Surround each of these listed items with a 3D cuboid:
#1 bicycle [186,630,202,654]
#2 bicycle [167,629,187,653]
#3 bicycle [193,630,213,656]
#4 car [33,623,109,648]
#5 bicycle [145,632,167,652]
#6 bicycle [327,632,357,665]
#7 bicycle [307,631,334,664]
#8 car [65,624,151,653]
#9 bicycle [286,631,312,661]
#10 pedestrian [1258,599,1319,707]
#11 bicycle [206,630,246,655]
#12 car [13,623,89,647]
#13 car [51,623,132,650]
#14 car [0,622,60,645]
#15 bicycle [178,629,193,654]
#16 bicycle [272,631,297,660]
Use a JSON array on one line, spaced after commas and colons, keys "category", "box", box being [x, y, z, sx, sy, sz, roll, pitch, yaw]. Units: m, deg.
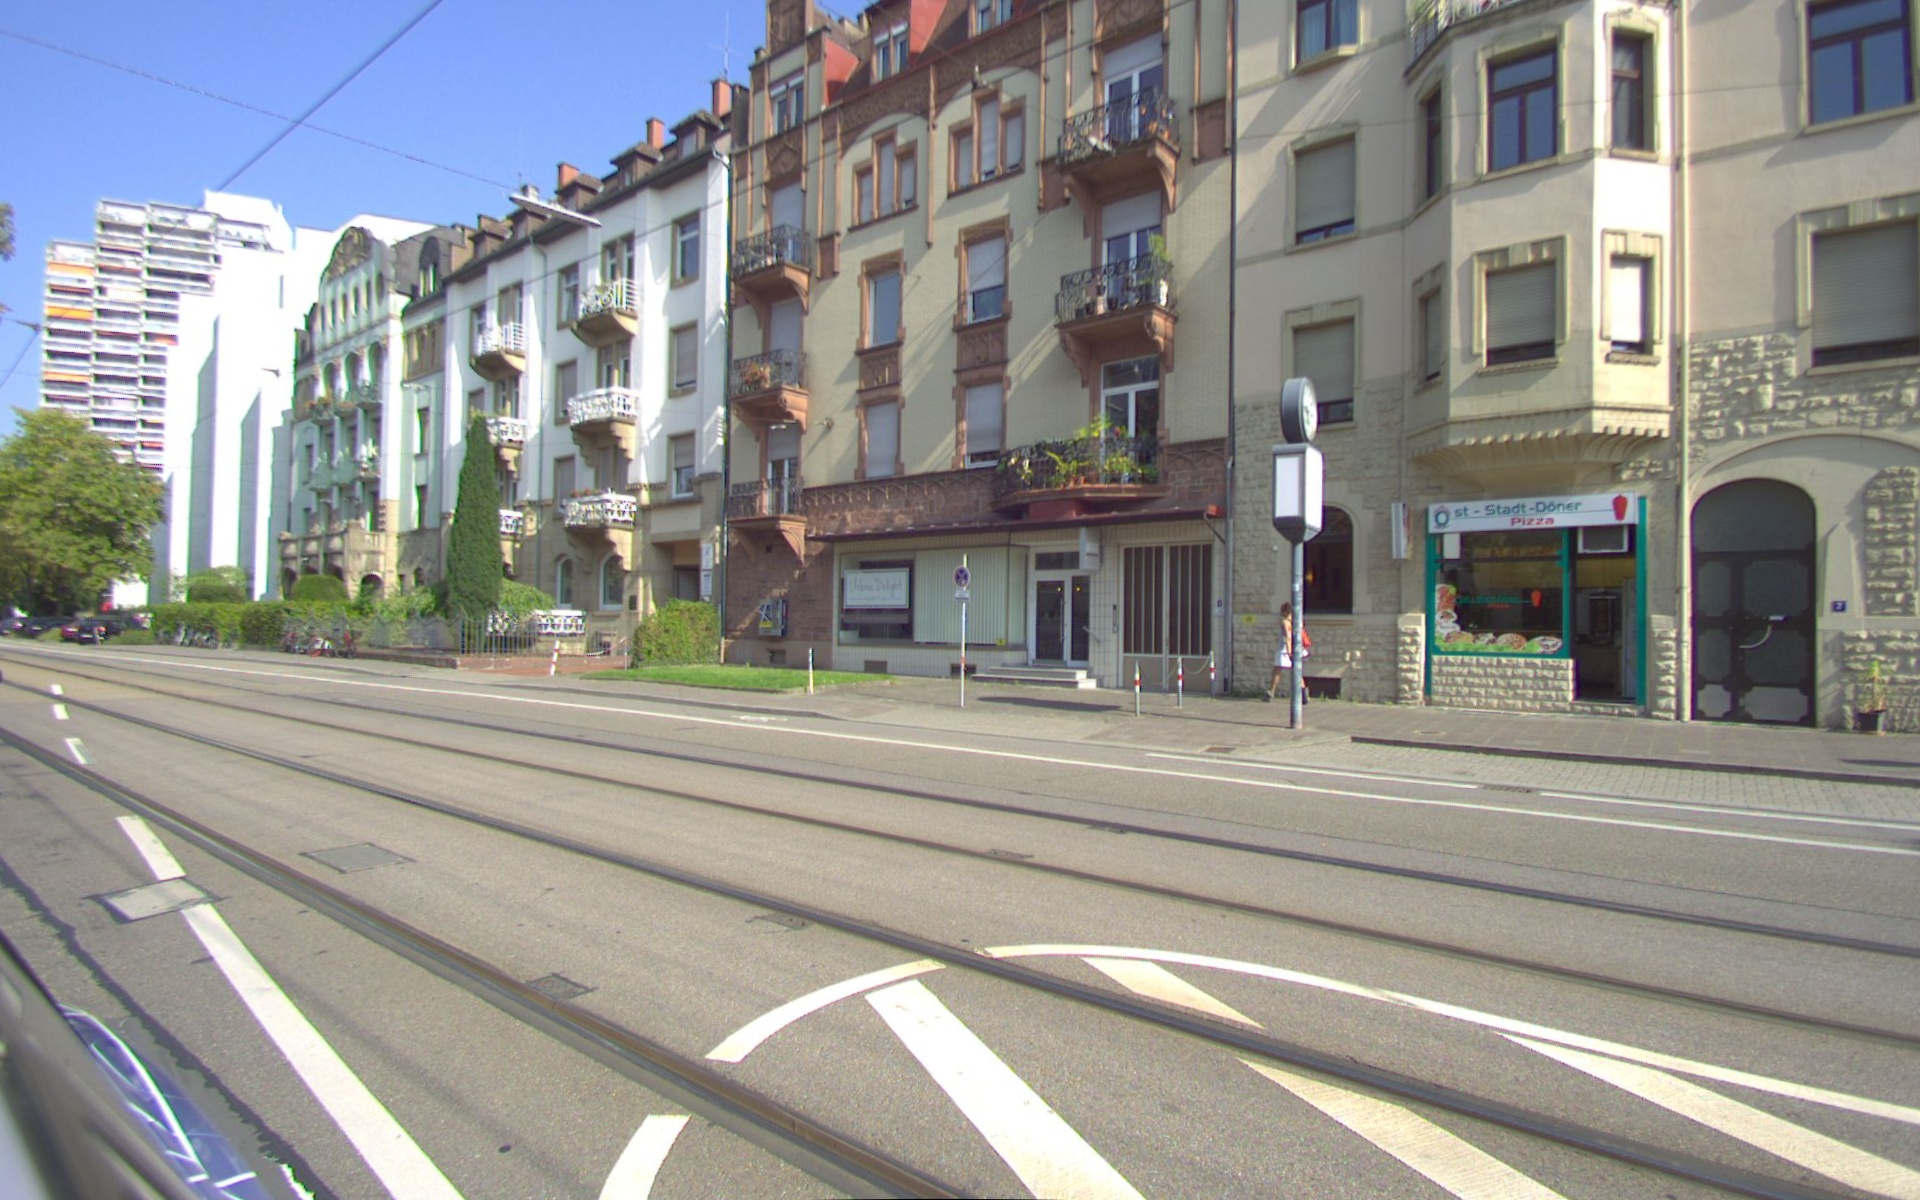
[{"category": "bicycle", "box": [-34.666, 1.900, 45.792, 0.419, 1.096, 1.679, 3, -3, -41]}, {"category": "bicycle", "box": [-36.833, 1.925, 47.594, 1.676, 1.096, 0.420, -1, -3, 43]}, {"category": "bicycle", "box": [-33.164, 1.879, 44.322, 1.677, 1.096, 0.419, -1, -3, 44]}, {"category": "car", "box": [-56.712, 2.284, 64.640, 1.744, 1.539, 4.007, 1, -2, -9]}, {"category": "bicycle", "box": [-39.448, 2.065, 49.655, 1.768, 0.985, 0.420, -1, -3, 39]}, {"category": "bicycle", "box": [-20.666, 1.612, 33.851, 1.486, 1.096, 0.366, -1, -3, 40]}, {"category": "bicycle", "box": [-22.074, 1.627, 34.932, 1.354, 1.096, 0.366, -1, -3, 40]}, {"category": "car", "box": [-46.315, 2.089, 55.114, 1.744, 1.539, 4.007, 1, -2, -9]}, {"category": "bicycle", "box": [-24.069, 1.668, 36.845, 1.354, 1.096, 0.366, -1, -3, 40]}, {"category": "pedestrian", "box": [5.885, 0.942, 18.131, 0.829, 1.874, 0.766, -1, -3, 38]}, {"category": "bicycle", "box": [-32.007, 1.854, 44.143, 0.423, 1.096, 1.385, 0, -2, 22]}, {"category": "car", "box": [-59.245, 2.281, 66.054, 1.744, 1.539, 4.007, 1, -2, -9]}, {"category": "car", "box": [-51.146, 2.162, 59.668, 1.744, 1.539, 4.007, 1, -2, -9]}, {"category": "car", "box": [-66.139, 2.368, 71.594, 1.744, 1.539, 4.007, 1, -2, -9]}, {"category": "bicycle", "box": [-35.378, 1.895, 46.201, 0.419, 1.096, 1.679, 3, -3, -41]}, {"category": "bicycle", "box": [-25.386, 1.706, 38.027, 1.354, 1.096, 0.366, -1, -3, 40]}]
